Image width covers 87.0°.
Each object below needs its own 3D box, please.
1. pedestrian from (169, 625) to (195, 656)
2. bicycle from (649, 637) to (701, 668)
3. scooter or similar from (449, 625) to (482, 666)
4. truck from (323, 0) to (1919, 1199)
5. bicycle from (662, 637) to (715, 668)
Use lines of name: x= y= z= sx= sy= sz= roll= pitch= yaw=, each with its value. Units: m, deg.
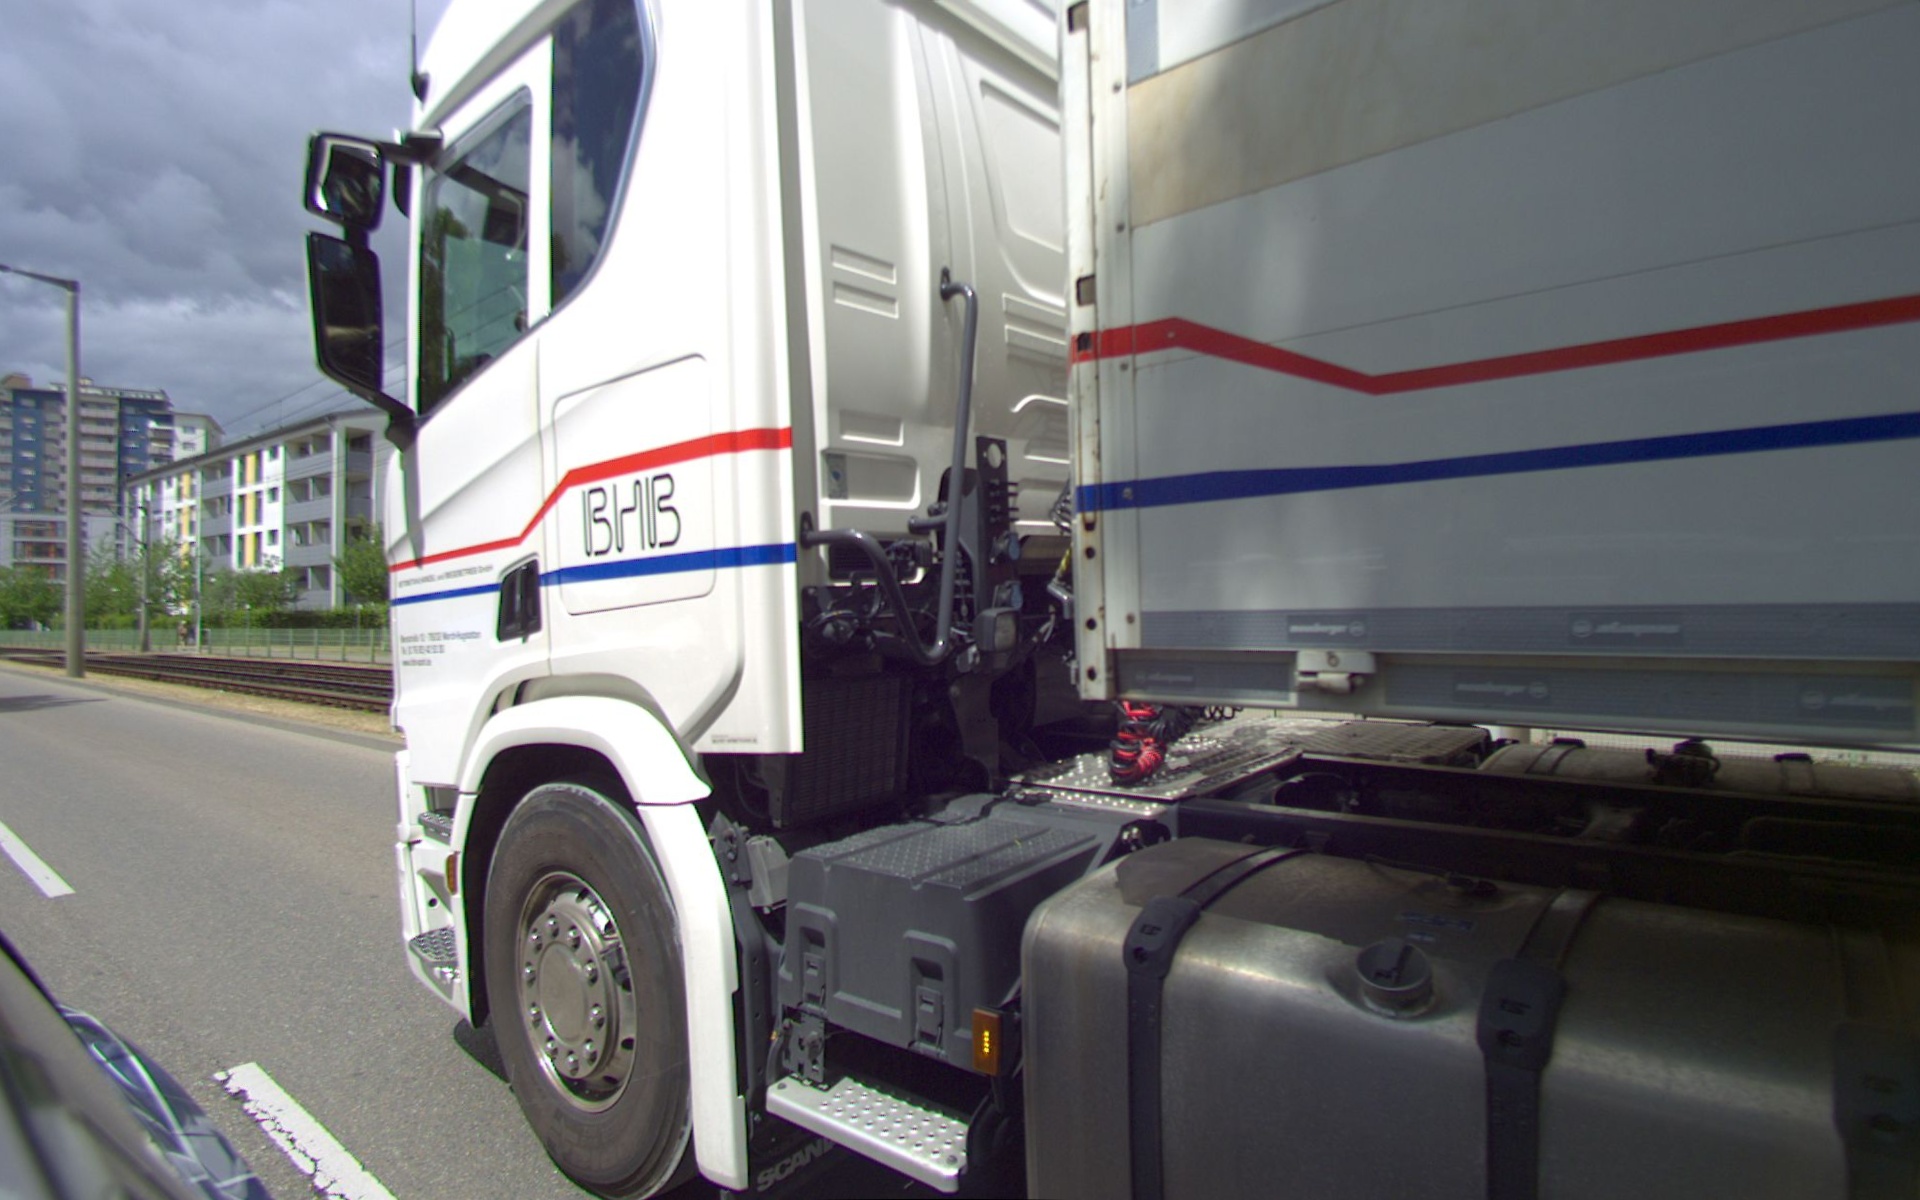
pedestrian: x=-38.870 y=2.020 z=50.542 sx=0.994 sy=1.494 sz=0.789 roll=-2 pitch=-2 yaw=37
bicycle: x=-9.355 y=1.705 z=33.145 sx=2.212 sy=0.987 sz=0.549 roll=-2 pitch=-2 yaw=42
scooter or similar: x=-16.065 y=1.483 z=32.851 sx=1.301 sy=1.303 sz=0.485 roll=-2 pitch=-2 yaw=40
truck: x=1.215 y=-0.404 z=2.148 sx=6.141 sy=3.607 sz=2.670 roll=-2 pitch=-1 yaw=41
bicycle: x=-9.012 y=1.738 z=33.530 sx=2.212 sy=0.987 sz=0.549 roll=-2 pitch=-2 yaw=42
